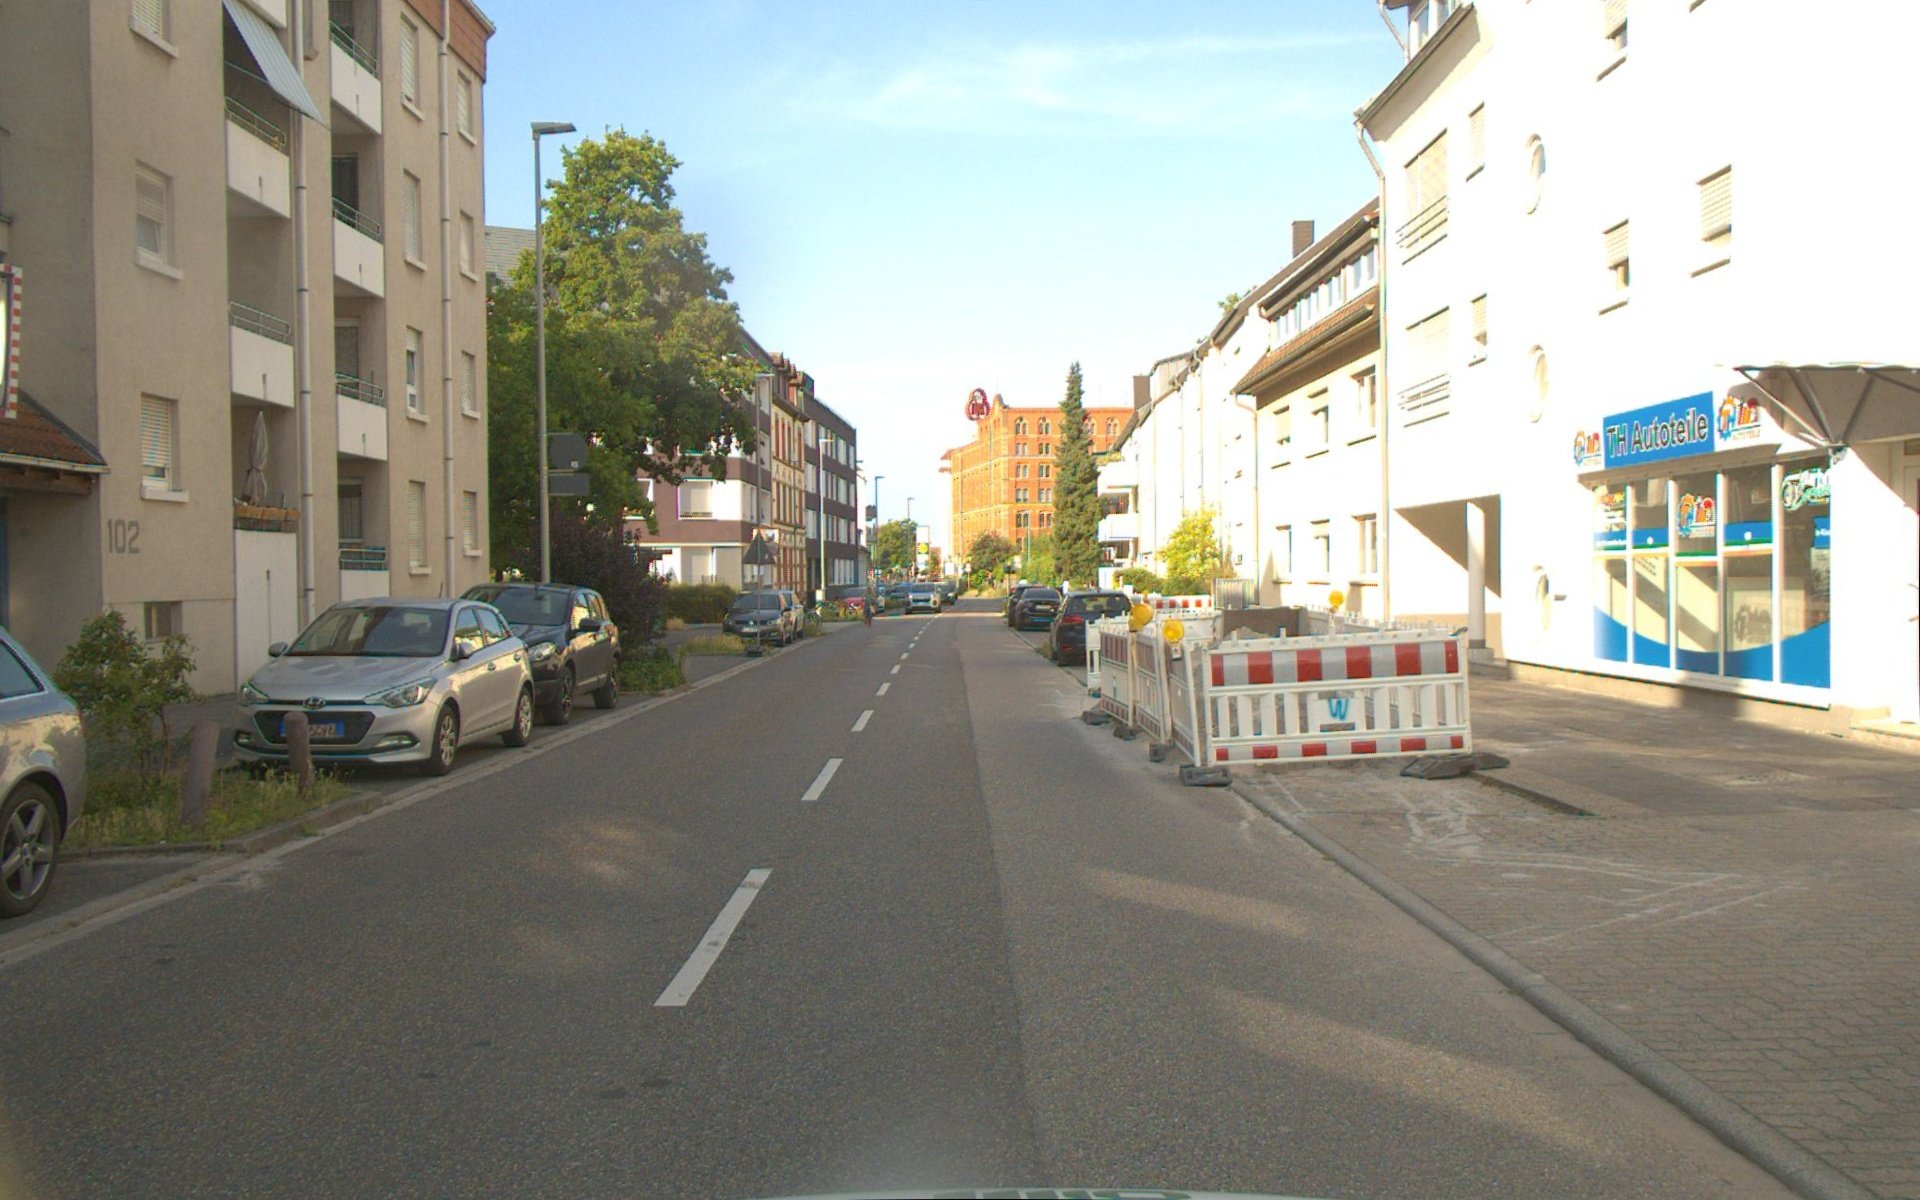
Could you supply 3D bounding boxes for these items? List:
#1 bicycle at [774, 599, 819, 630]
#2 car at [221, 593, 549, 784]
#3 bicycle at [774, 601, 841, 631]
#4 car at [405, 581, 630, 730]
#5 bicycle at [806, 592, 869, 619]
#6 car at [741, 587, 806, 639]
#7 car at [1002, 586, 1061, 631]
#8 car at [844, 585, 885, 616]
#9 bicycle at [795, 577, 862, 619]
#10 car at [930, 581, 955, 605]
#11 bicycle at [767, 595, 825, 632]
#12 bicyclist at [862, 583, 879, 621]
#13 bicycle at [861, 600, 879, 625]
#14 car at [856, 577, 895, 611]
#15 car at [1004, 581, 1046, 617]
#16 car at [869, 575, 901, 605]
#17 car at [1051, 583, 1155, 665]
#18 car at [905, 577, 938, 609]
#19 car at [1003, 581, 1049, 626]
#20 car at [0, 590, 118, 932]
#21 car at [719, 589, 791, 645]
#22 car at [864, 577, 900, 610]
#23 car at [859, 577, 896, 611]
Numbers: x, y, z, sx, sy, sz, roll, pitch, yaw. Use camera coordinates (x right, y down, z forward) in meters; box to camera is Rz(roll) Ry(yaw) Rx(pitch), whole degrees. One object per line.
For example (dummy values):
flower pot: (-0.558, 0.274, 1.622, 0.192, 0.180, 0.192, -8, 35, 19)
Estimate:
bicycle: (-5.768, 0.503, 58.381, 1.554, 1.059, 0.707, -1, 0, -6)
car: (-5.069, 0.694, 15.183, 1.652, 1.480, 4.140, 0, 1, -1)
bicycle: (-5.303, 0.546, 57.670, 2.295, 0.987, 0.707, -1, 0, -6)
car: (-5.291, 0.588, 20.342, 1.651, 1.631, 4.369, 0, 0, -1)
bicycle: (-5.574, 0.264, 75.399, 2.716, 1.164, 1.143, -1, 0, 0)
car: (-5.688, 0.372, 50.676, 1.642, 1.528, 3.999, 0, 1, -2)
car: (2.489, 0.280, 58.251, 1.821, 1.497, 4.000, -1, 0, -1)
car: (-4.777, 0.019, 83.148, 1.802, 1.489, 3.584, -1, 1, 0)
bicycle: (-5.854, -0.092, 73.627, 2.858, 1.808, 1.202, -1, 0, 0)
car: (-1.260, -0.506, 117.983, 1.727, 1.644, 4.000, -1, 1, 0)
bicycle: (-5.628, 0.471, 56.792, 1.962, 1.238, 0.707, -1, 0, -6)
bicyclist: (-3.515, 0.091, 64.849, 0.578, 1.467, 0.751, -1, 0, 1)
bicycle: (-3.517, 0.472, 64.787, 0.596, 0.959, 1.811, 0, 0, 1)
car: (-4.765, -0.329, 94.119, 1.952, 1.867, 3.689, -1, 0, 1)
car: (2.938, -0.055, 75.547, 1.727, 1.552, 4.000, -2, 1, 0)
car: (-4.952, -0.655, 109.691, 1.953, 1.914, 4.000, -1, 1, 0)
car: (2.839, 0.440, 33.576, 1.792, 1.508, 3.943, -1, 1, 1)
car: (-2.063, -0.404, 89.586, 1.727, 1.644, 4.000, -1, 1, 0)
car: (2.497, 0.102, 63.495, 1.569, 1.674, 3.685, 1, 1, 0)
car: (-5.217, 0.746, 6.427, 1.771, 1.547, 4.369, 0, 1, -2)
car: (-5.527, 0.425, 44.996, 1.541, 1.445, 3.803, 0, 1, -1)
car: (-4.845, -0.419, 103.314, 1.952, 1.941, 4.000, -1, 0, 1)
car: (-4.920, -0.360, 99.236, 1.952, 1.945, 3.689, -1, 0, 1)
